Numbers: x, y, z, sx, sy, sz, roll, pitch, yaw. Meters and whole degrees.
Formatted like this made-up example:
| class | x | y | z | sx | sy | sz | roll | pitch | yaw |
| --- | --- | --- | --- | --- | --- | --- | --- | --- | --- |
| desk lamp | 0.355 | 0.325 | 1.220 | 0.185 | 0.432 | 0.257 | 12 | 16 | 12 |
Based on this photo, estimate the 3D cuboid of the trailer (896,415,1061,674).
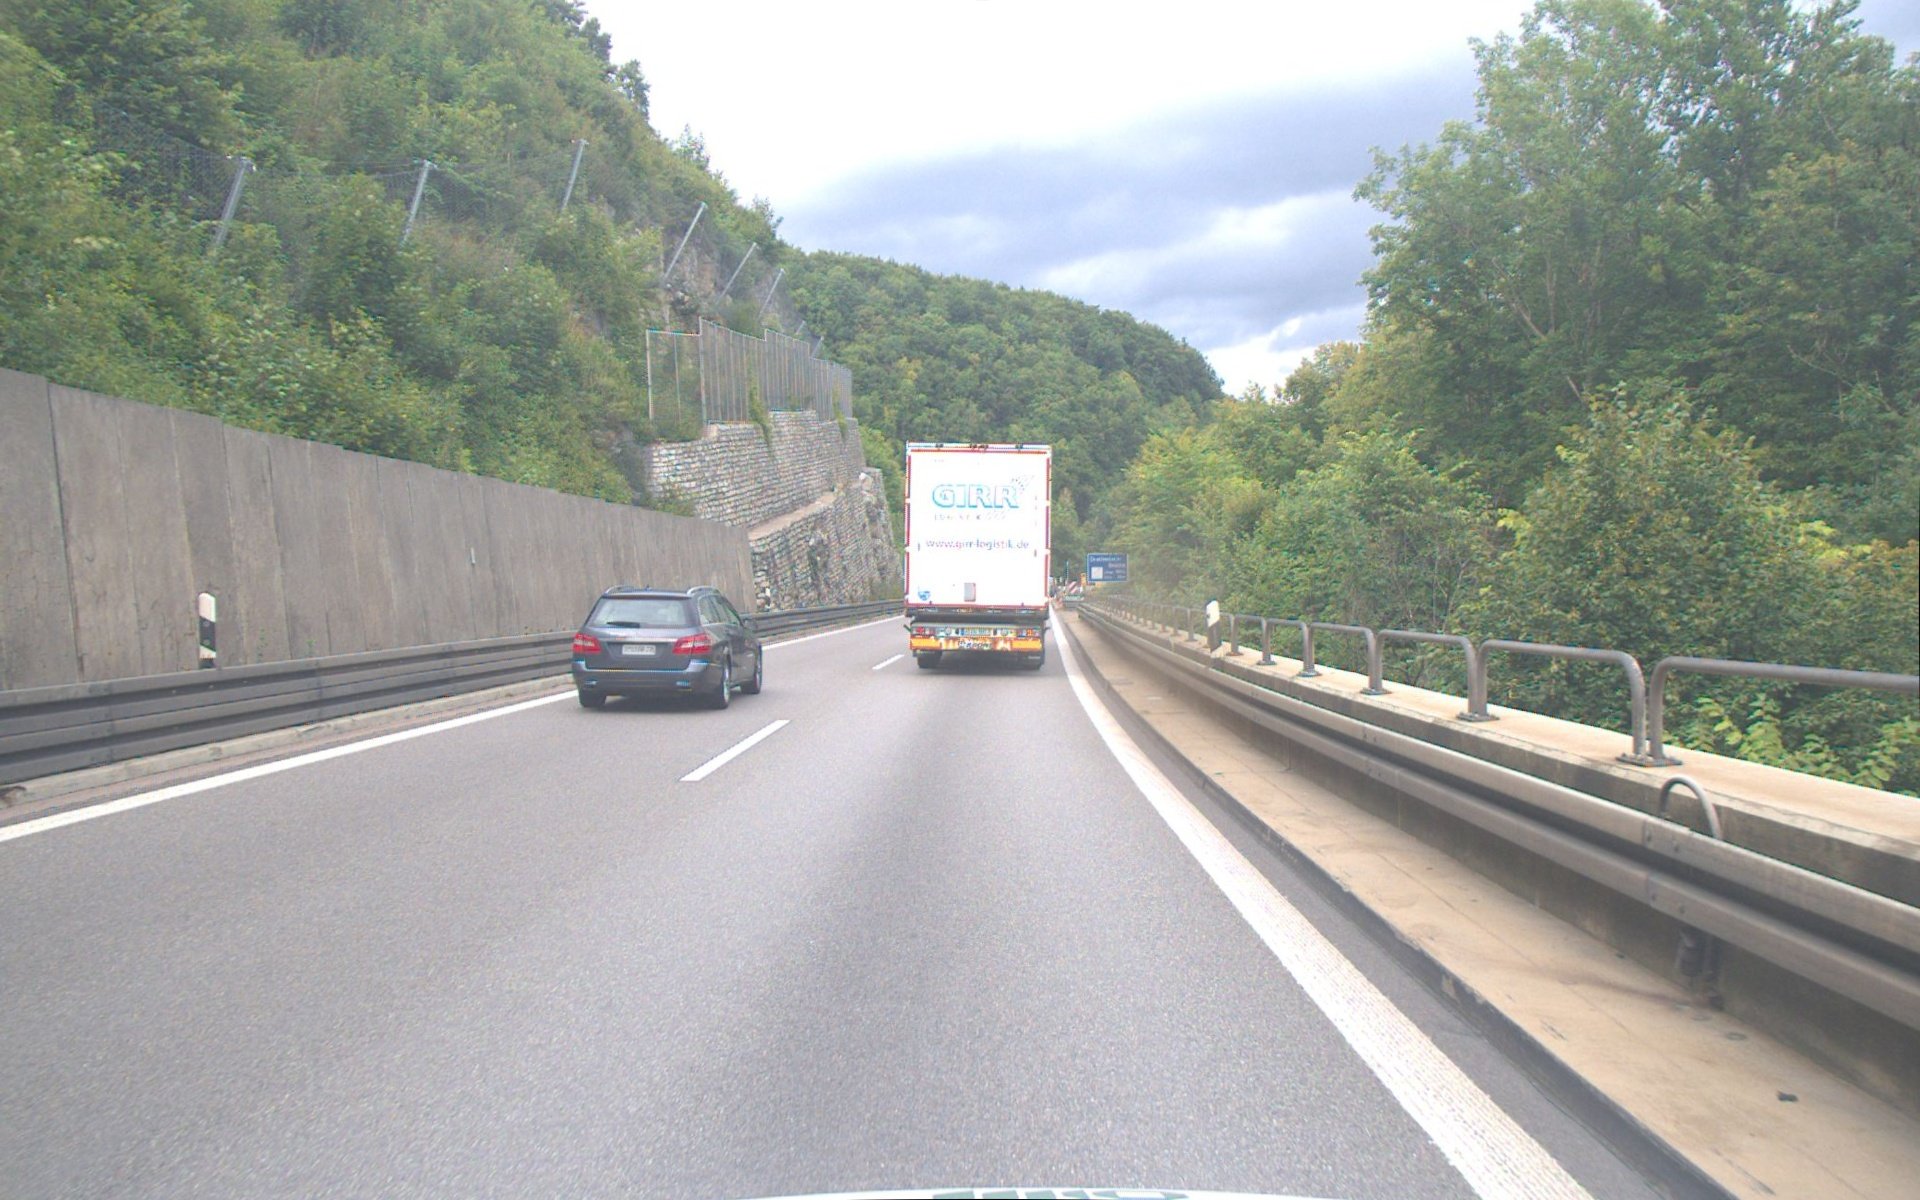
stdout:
| class | x | y | z | sx | sy | sz | roll | pitch | yaw |
| --- | --- | --- | --- | --- | --- | --- | --- | --- | --- |
| trailer | 0.544 | -0.945 | 34.190 | 2.755 | 4.378 | 12.248 | 0 | 0 | 2 |

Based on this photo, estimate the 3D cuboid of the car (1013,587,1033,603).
| class | x | y | z | sx | sy | sz | roll | pitch | yaw |
| --- | --- | --- | --- | --- | --- | --- | --- | --- | --- |
| car | 6.549 | -0.527 | 171.321 | 1.952 | 1.600 | 4.000 | 0 | 0 | 1 |

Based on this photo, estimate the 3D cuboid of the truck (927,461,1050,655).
| class | x | y | z | sx | sy | sz | roll | pitch | yaw |
| --- | --- | --- | --- | --- | --- | --- | --- | --- | --- |
| truck | 0.769 | -0.956 | 40.650 | 2.755 | 4.378 | 6.260 | 0 | 0 | 2 |

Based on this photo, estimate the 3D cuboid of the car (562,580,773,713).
| class | x | y | z | sx | sy | sz | roll | pitch | yaw |
| --- | --- | --- | --- | --- | --- | --- | --- | --- | --- |
| car | -3.658 | 0.543 | 21.463 | 1.844 | 1.536 | 4.419 | 0 | 0 | 1 |

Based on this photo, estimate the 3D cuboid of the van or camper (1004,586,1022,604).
| class | x | y | z | sx | sy | sz | roll | pitch | yaw |
| --- | --- | --- | --- | --- | --- | --- | --- | --- | --- |
| van or camper | 6.330 | -0.554 | 197.278 | 1.952 | 2.049 | 4.002 | 1 | 0 | 3 |

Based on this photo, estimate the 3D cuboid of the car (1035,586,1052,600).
| class | x | y | z | sx | sy | sz | roll | pitch | yaw |
| --- | --- | --- | --- | --- | --- | --- | --- | --- | --- |
| car | 10.886 | -0.860 | 215.548 | 1.951 | 1.795 | 4.003 | 0 | 0 | 7 |
